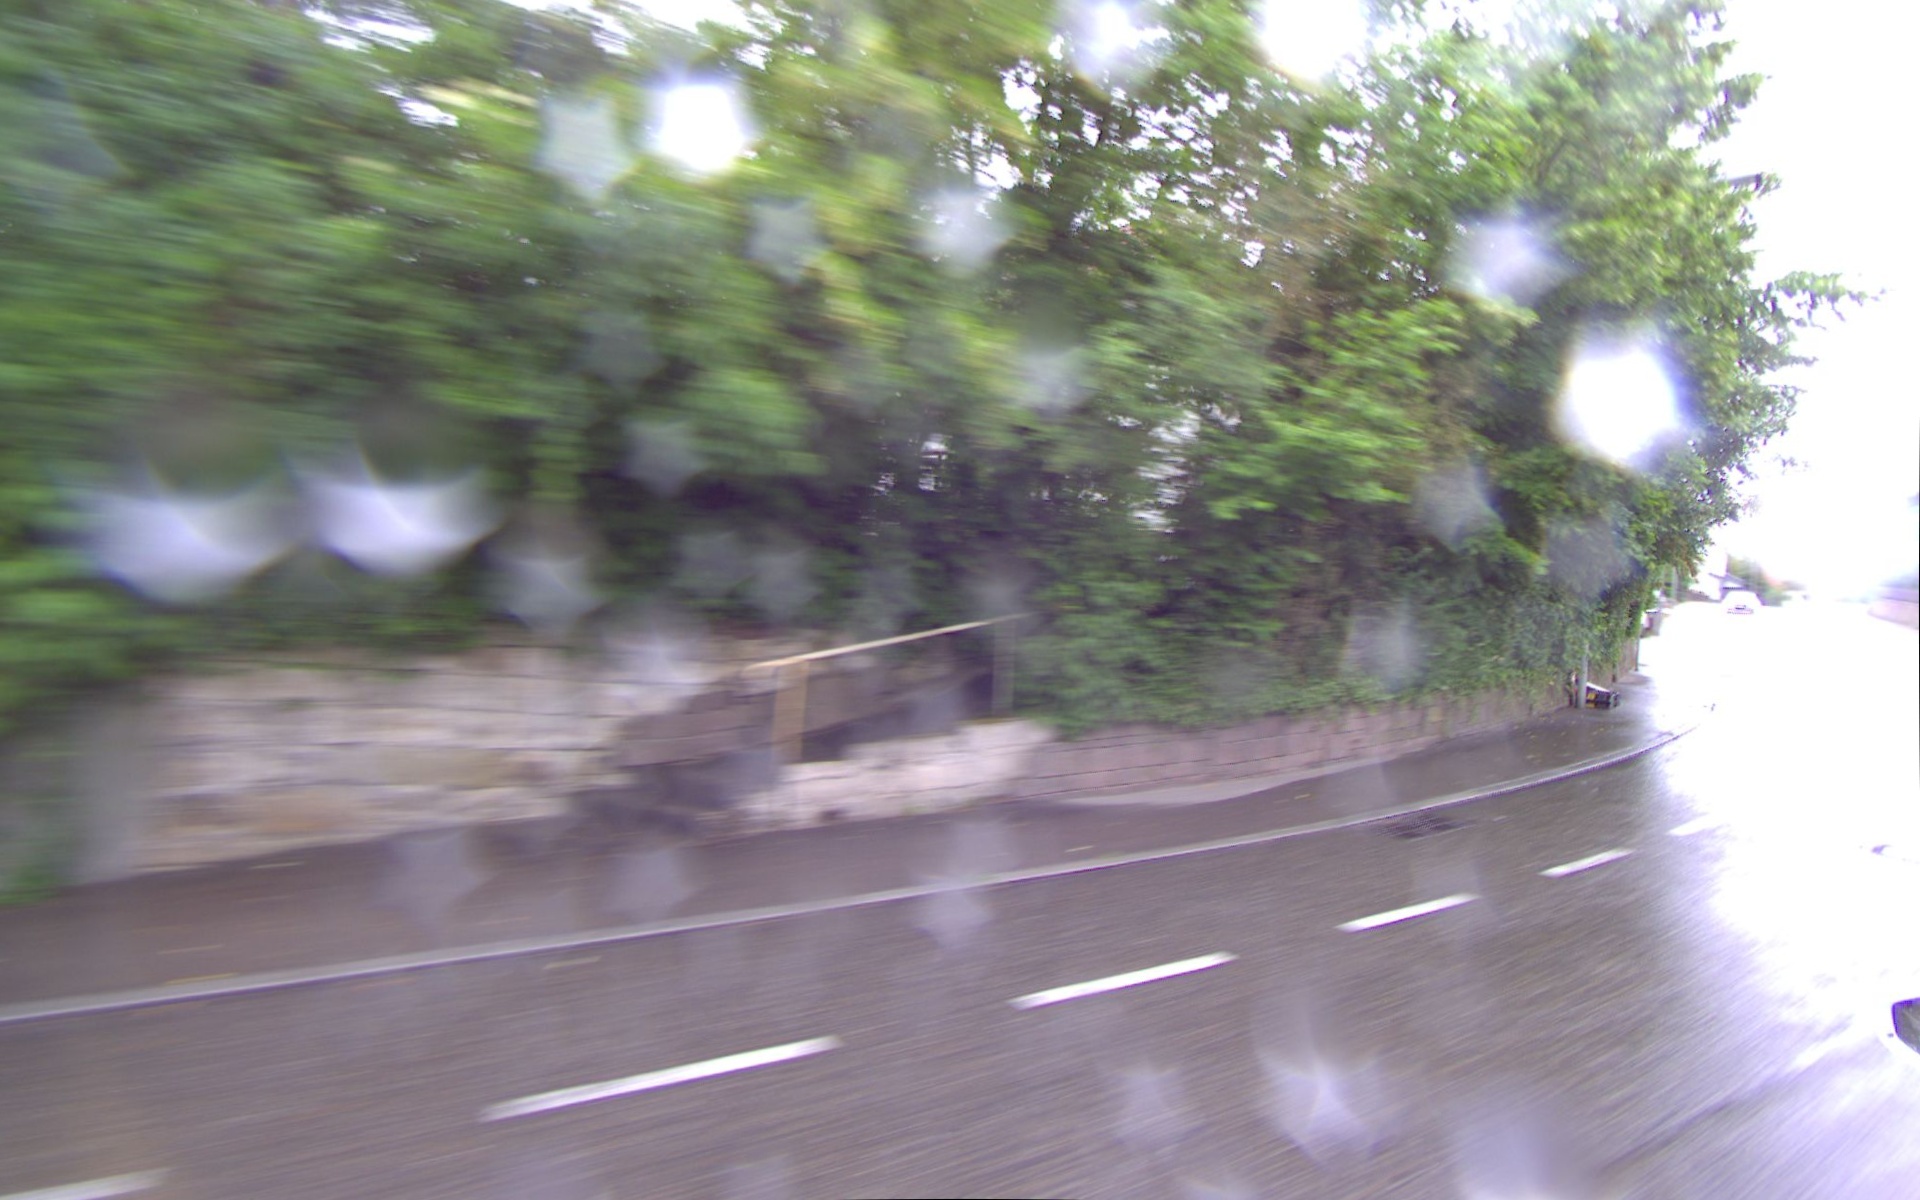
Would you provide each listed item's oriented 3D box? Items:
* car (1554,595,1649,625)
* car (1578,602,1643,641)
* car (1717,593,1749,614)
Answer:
[{"bbox_3d":[34.443,0.497,54.004,1.886,1.525,3.952,-1,1,-41],"label":"car"},{"bbox_3d":[26.782,0.865,41.283,1.871,1.460,4.427,-1,0,38],"label":"car"},{"bbox_3d":[54.137,0.241,70.336,1.682,1.406,4.033,-2,-1,39],"label":"car"}]
